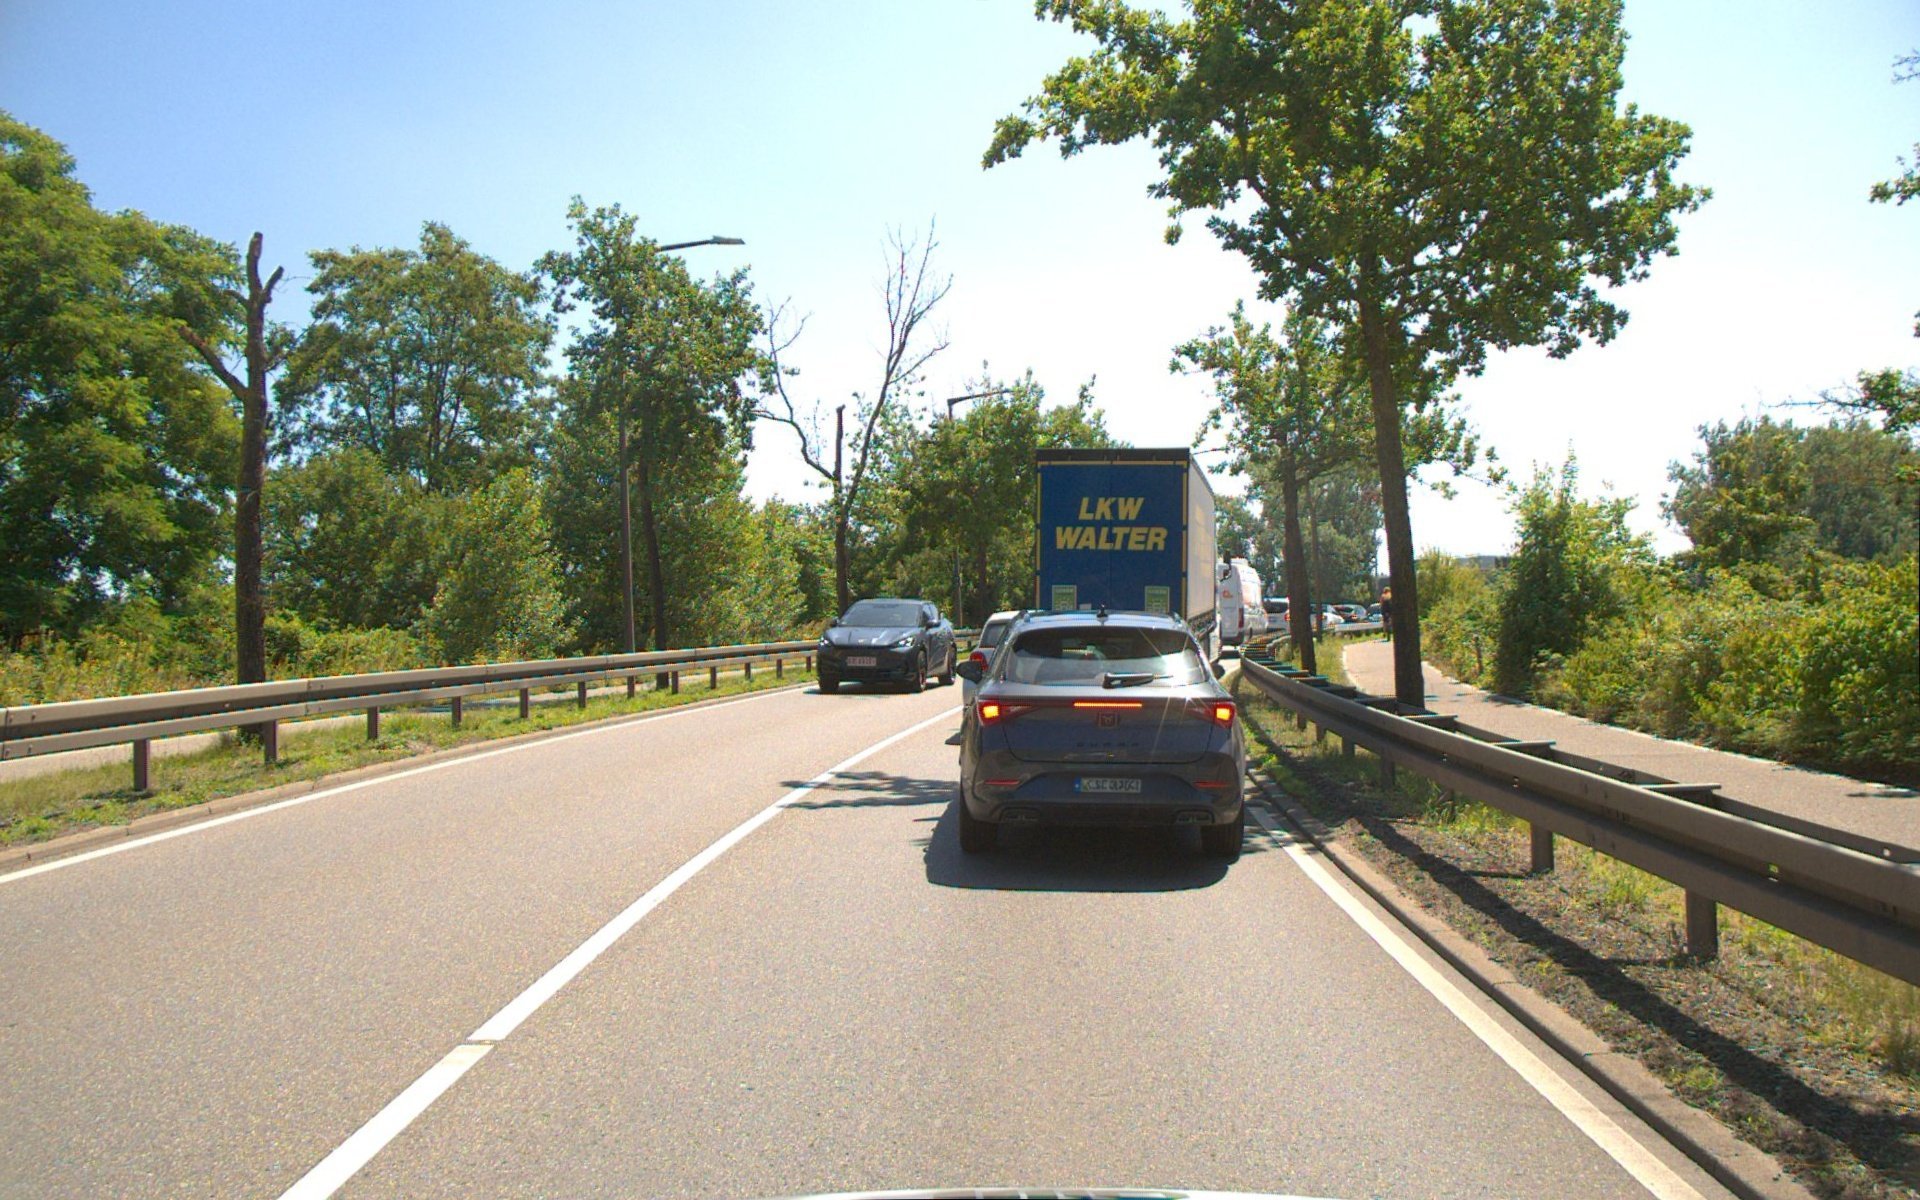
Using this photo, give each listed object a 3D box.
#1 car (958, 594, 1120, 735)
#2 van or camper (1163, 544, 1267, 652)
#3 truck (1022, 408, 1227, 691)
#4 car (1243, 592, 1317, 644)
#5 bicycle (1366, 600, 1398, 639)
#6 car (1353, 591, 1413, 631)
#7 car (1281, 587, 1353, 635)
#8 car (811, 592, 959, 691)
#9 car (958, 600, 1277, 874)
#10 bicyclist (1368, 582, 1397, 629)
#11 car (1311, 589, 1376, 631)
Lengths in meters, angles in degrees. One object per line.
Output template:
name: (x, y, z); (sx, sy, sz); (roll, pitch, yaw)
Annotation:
car: (1.029, 0.722, 20.261); (1.771, 1.534, 4.002); (0, 0, 5)
van or camper: (7.801, -0.048, 49.993); (2.414, 3.051, 6.090); (0, 0, 15)
truck: (3.969, -0.775, 34.984); (2.887, 4.527, 16.812); (0, 0, 10)
car: (11.439, 0.633, 58.918); (1.952, 1.742, 4.621); (0, 0, 19)
bicycle: (14.089, 0.643, 55.138); (0.842, 1.258, 2.310); (0, 0, 19)
car: (20.039, 0.510, 78.248); (1.954, 1.799, 4.752); (0, 0, 24)
car: (14.112, 0.435, 65.186); (1.953, 1.840, 4.844); (0, 0, 22)
car: (-1.281, 0.690, 30.115); (1.829, 1.631, 4.397); (1, 0, 9)
car: (0.893, 0.743, 10.850); (1.708, 1.457, 3.880); (0, 0, 1)
bicyclist: (14.076, 0.186, 55.078); (0.842, 1.550, 0.980); (0, -1, 18)
car: (16.710, 0.451, 71.913); (1.953, 1.747, 4.867); (0, 0, 22)
